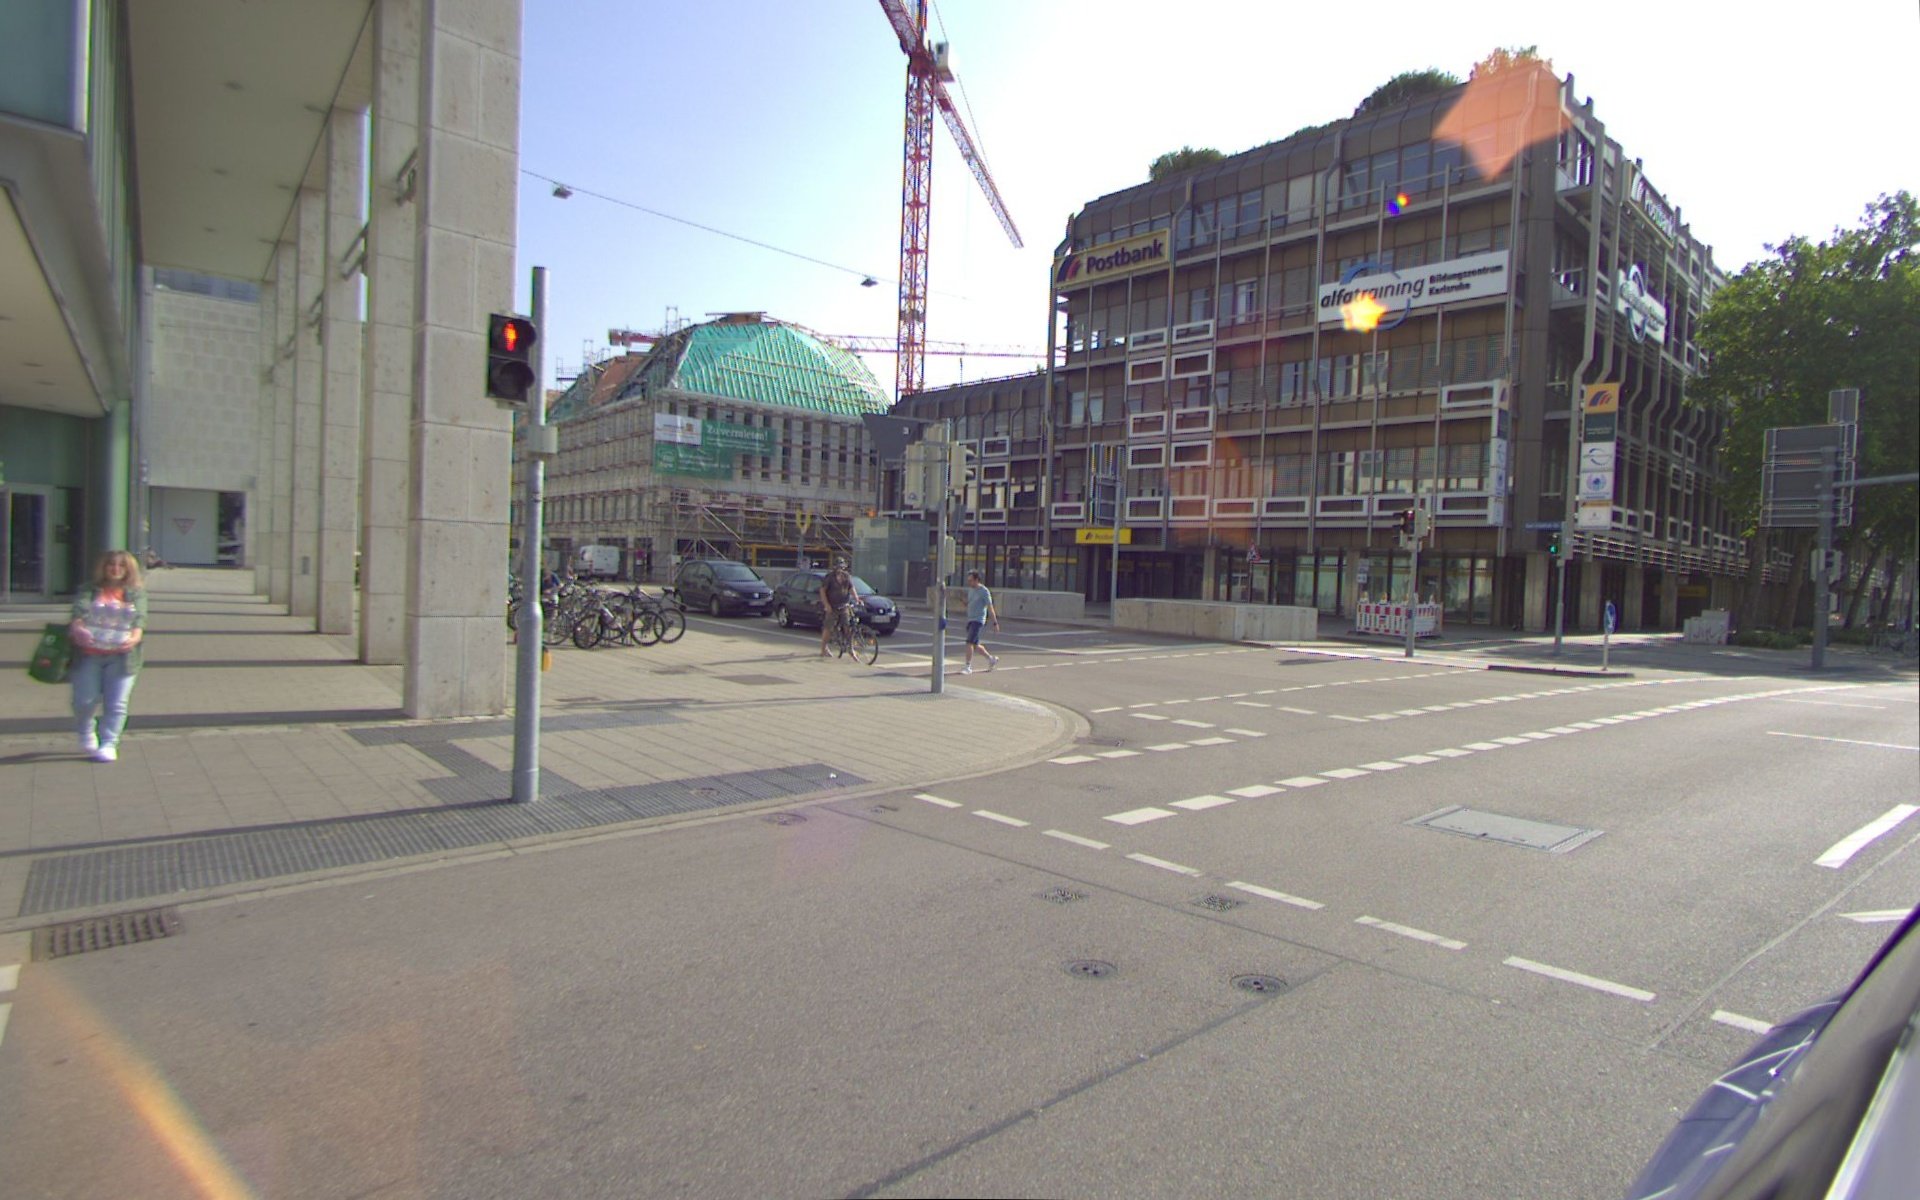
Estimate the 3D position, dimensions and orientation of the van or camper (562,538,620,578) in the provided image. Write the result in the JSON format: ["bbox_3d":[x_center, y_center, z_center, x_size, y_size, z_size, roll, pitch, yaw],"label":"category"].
[{"bbox_3d":[-24.582,-2.822,67.293,1.964,2.439,5.141,1,2,-39],"label":"van or camper"}]

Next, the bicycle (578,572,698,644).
[{"bbox_3d":[-5.970,0.141,18.829,2.034,1.252,0.614,0,2,-41],"label":"bicycle"}]

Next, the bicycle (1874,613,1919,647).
[{"bbox_3d":[37.229,1.182,39.744,0.527,1.202,1.833,1,3,-37],"label":"bicycle"}]

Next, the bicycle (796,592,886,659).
[{"bbox_3d":[-2.103,0.424,17.665,0.601,1.030,1.805,1,2,-42],"label":"bicycle"}]

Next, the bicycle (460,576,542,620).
[{"bbox_3d":[-10.502,-0.039,23.170,1.637,0.968,0.460,1,2,-34],"label":"bicycle"}]

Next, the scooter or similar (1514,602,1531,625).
[{"bbox_3d":[22.132,0.533,39.828,0.943,0.853,0.279,1,2,-43],"label":"scooter or similar"}]

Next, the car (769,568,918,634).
[{"bbox_3d":[-2.900,-0.033,24.593,1.843,1.383,3.904,0,3,-38],"label":"car"}]

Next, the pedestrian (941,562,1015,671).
[{"bbox_3d":[0.301,0.254,16.709,0.970,1.732,0.645,1,1,-35],"label":"pedestrian"}]

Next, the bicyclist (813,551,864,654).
[{"bbox_3d":[-2.119,0.031,17.693,0.572,1.759,0.636,1,2,-42],"label":"bicyclist"}]

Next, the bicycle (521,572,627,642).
[{"bbox_3d":[-7.090,0.126,18.652,1.763,1.214,0.501,0,2,-44],"label":"bicycle"}]

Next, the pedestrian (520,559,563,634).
[{"bbox_3d":[-7.779,-0.071,18.819,0.511,1.373,0.540,3,2,41],"label":"pedestrian"}]

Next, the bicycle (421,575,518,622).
[{"bbox_3d":[-10.502,-0.018,21.699,1.820,0.968,0.460,1,2,-34],"label":"bicycle"}]

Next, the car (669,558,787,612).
[{"bbox_3d":[-6.775,-0.459,29.305,1.844,1.420,3.912,1,2,-38],"label":"car"}]

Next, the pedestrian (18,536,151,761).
[{"bbox_3d":[-6.215,0.316,7.217,0.593,1.506,0.710,1,1,-33],"label":"pedestrian"}]

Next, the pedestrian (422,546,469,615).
[{"bbox_3d":[-11.622,-0.450,22.873,0.594,1.503,0.735,2,1,17],"label":"pedestrian"}]

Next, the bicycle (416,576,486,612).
[{"bbox_3d":[-14.257,-0.159,28.392,1.687,0.968,0.459,0,2,-44],"label":"bicycle"}]

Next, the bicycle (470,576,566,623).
[{"bbox_3d":[-9.482,-0.006,21.762,1.820,0.968,0.460,1,2,-34],"label":"bicycle"}]
